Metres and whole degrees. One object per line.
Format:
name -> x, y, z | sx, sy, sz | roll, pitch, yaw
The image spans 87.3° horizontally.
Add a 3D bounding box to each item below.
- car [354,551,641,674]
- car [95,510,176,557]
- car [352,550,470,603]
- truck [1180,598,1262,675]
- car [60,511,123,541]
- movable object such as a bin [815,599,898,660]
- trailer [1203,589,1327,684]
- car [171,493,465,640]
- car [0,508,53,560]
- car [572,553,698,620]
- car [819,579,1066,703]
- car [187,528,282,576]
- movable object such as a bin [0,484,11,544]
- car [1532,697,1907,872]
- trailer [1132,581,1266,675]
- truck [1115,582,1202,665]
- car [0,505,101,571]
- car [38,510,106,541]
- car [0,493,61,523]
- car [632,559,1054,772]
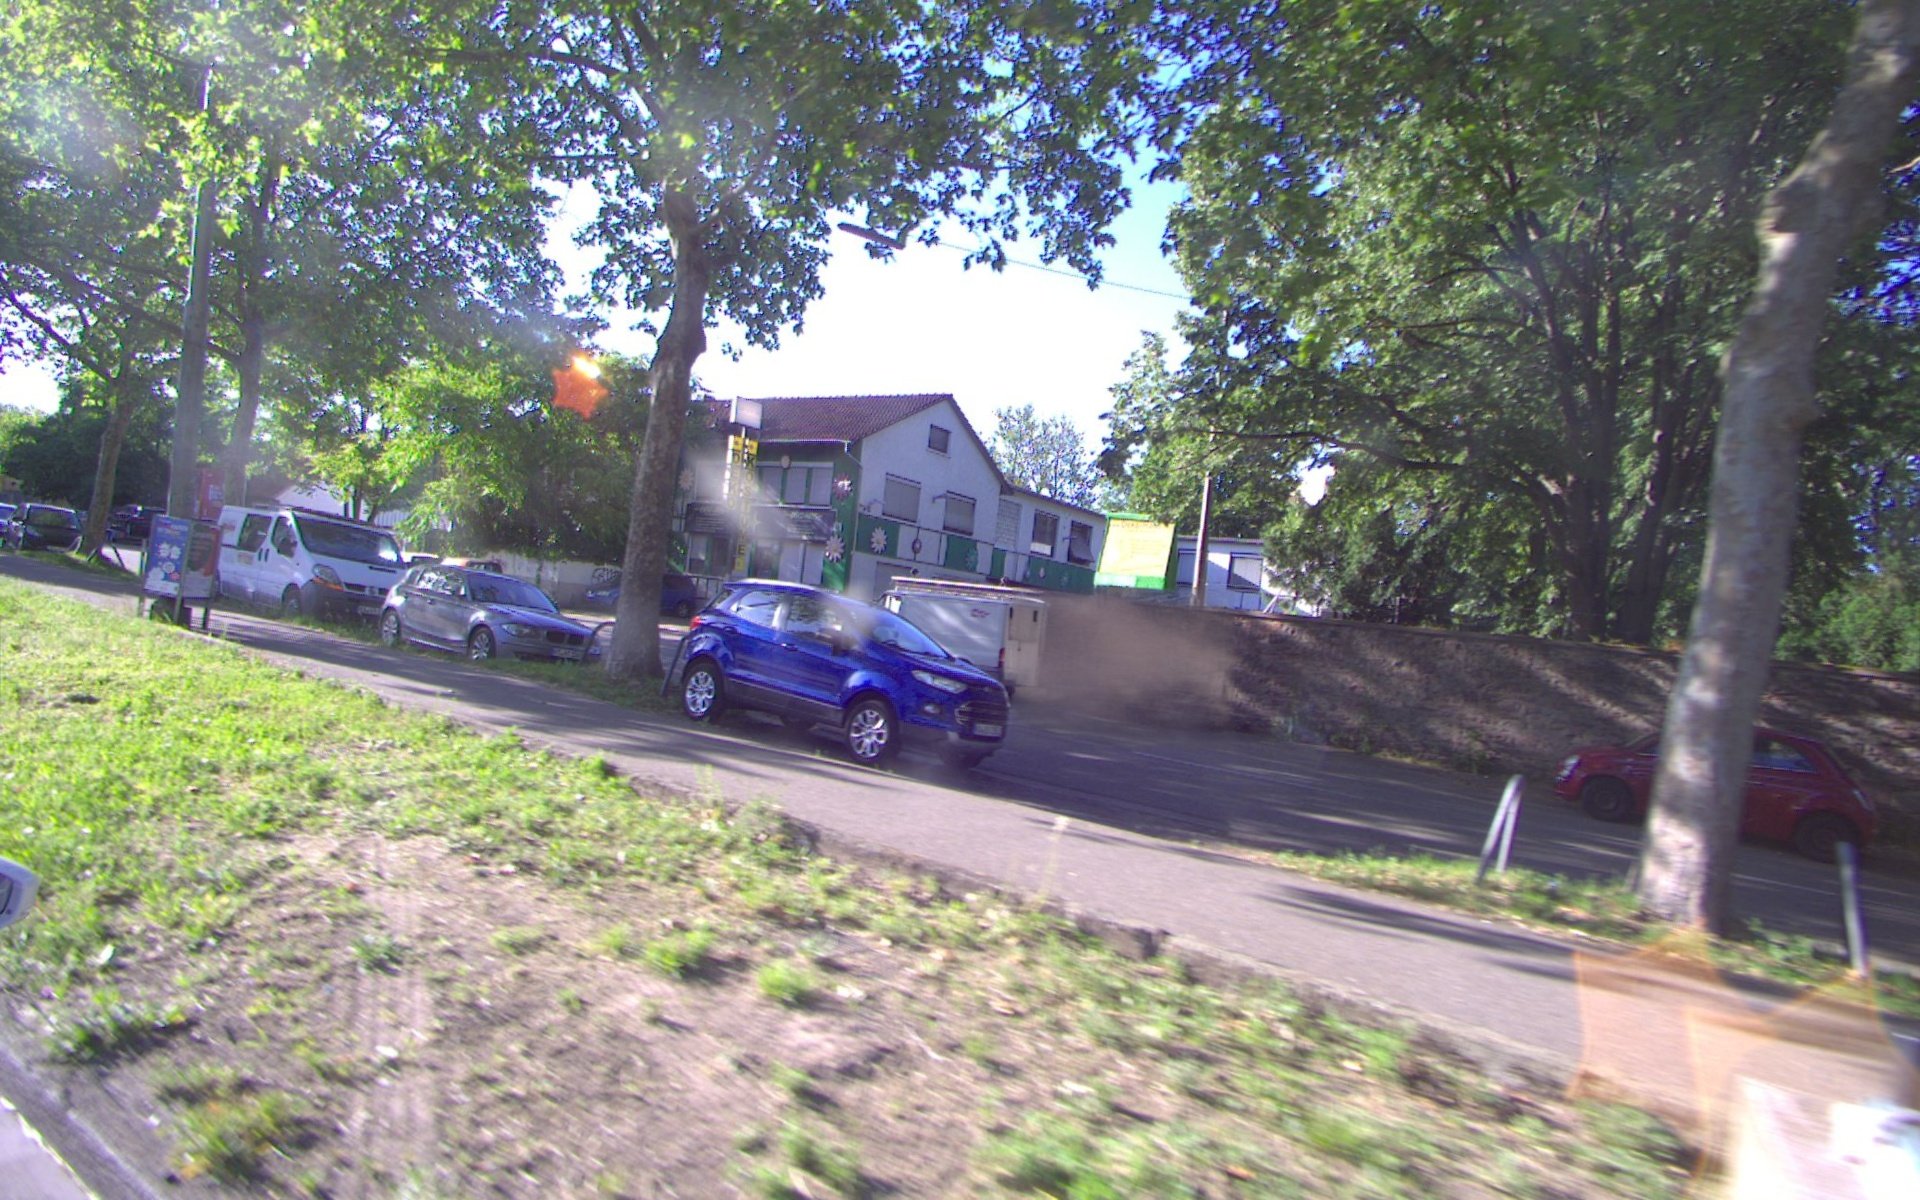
car -> -6.964, 0.167, 15.085 | 3.987, 1.304, 1.997 | 6, -3, 33
car -> -42.687, -3.454, 52.043 | 4.615, 2.028, 1.872 | 6, 1, 33
car -> -19.534, -0.848, 35.755 | 4.258, 1.502, 1.993 | 5, 0, 36
truck -> 11.496, 1.607, 44.289 | 2.199, 2.948, 2.891 | 6, -2, 40
car -> -48.493, -4.133, 56.150 | 4.247, 1.389, 1.730 | 5, 1, 36
movable object such as a bin -> -2.817, 0.818, 27.429 | 1.461, 1.488, 1.645 | 6, 1, 31
trailer -> 14.812, 1.878, 48.329 | 2.193, 3.604, 8.725 | 6, -3, 40
car -> -11.829, -0.658, 18.390 | 5.726, 2.036, 2.194 | 6, -2, 33
car -> -30.648, -2.204, 31.834 | 4.674, 1.400, 2.000 | 5, -3, 38
car -> -11.953, -0.446, 37.238 | 1.819, 1.871, 4.091 | 6, -3, 32
car -> -0.457, 0.841, 21.550 | 4.867, 2.038, 2.087 | 6, -1, 37
car -> -32.209, -2.144, 44.666 | 3.935, 1.658, 1.997 | 6, -3, 33
movable object such as a bin -> -34.417, -3.161, 34.581 | 2.103, 2.036, 2.083 | 6, -2, 36
car -> 9.993, 2.332, 13.537 | 3.701, 1.491, 1.688 | 6, 1, 37
trailer -> 12.031, 1.522, 49.894 | 2.646, 3.604, 8.786 | 6, -3, 39
truck -> 9.130, 1.094, 46.215 | 2.675, 3.307, 2.482 | 7, -1, 39
car -> -26.139, -1.785, 28.682 | 2.942, 1.517, 1.664 | 6, -3, 34
car -> -52.872, -4.438, 59.868 | 4.615, 1.502, 1.871 | 6, 1, 33
car -> -59.106, -5.855, 63.837 | 4.615, 1.566, 1.872 | 6, 0, 33
car -> -1.360, 0.631, 10.915 | 4.282, 1.660, 1.739 | 6, -2, 33
